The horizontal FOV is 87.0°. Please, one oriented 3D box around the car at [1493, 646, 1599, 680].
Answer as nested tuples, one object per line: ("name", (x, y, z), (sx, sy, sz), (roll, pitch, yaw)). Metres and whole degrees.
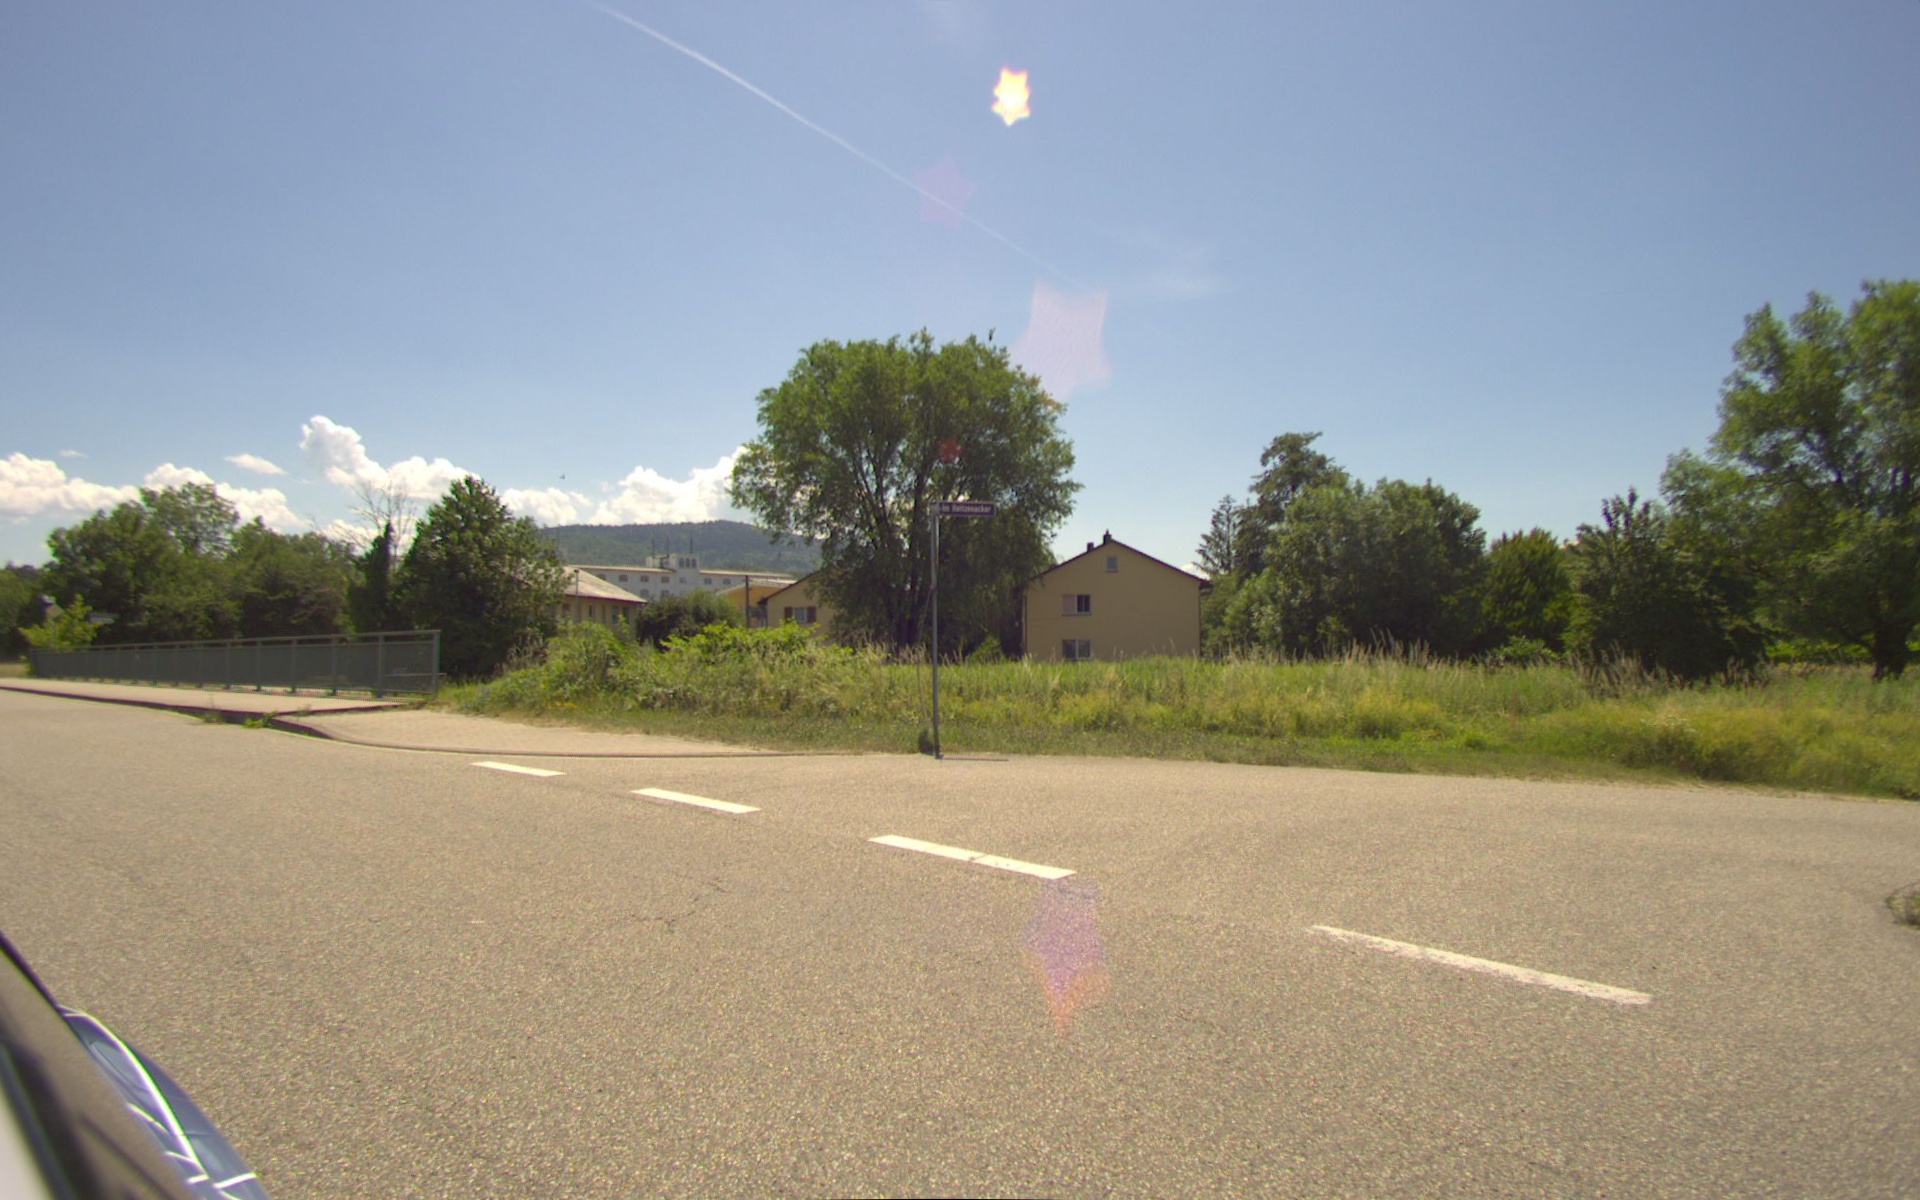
("car", (28.692, 3.086, 49.632), (3.941, 1.608, 2.001), (0, -3, -3))
